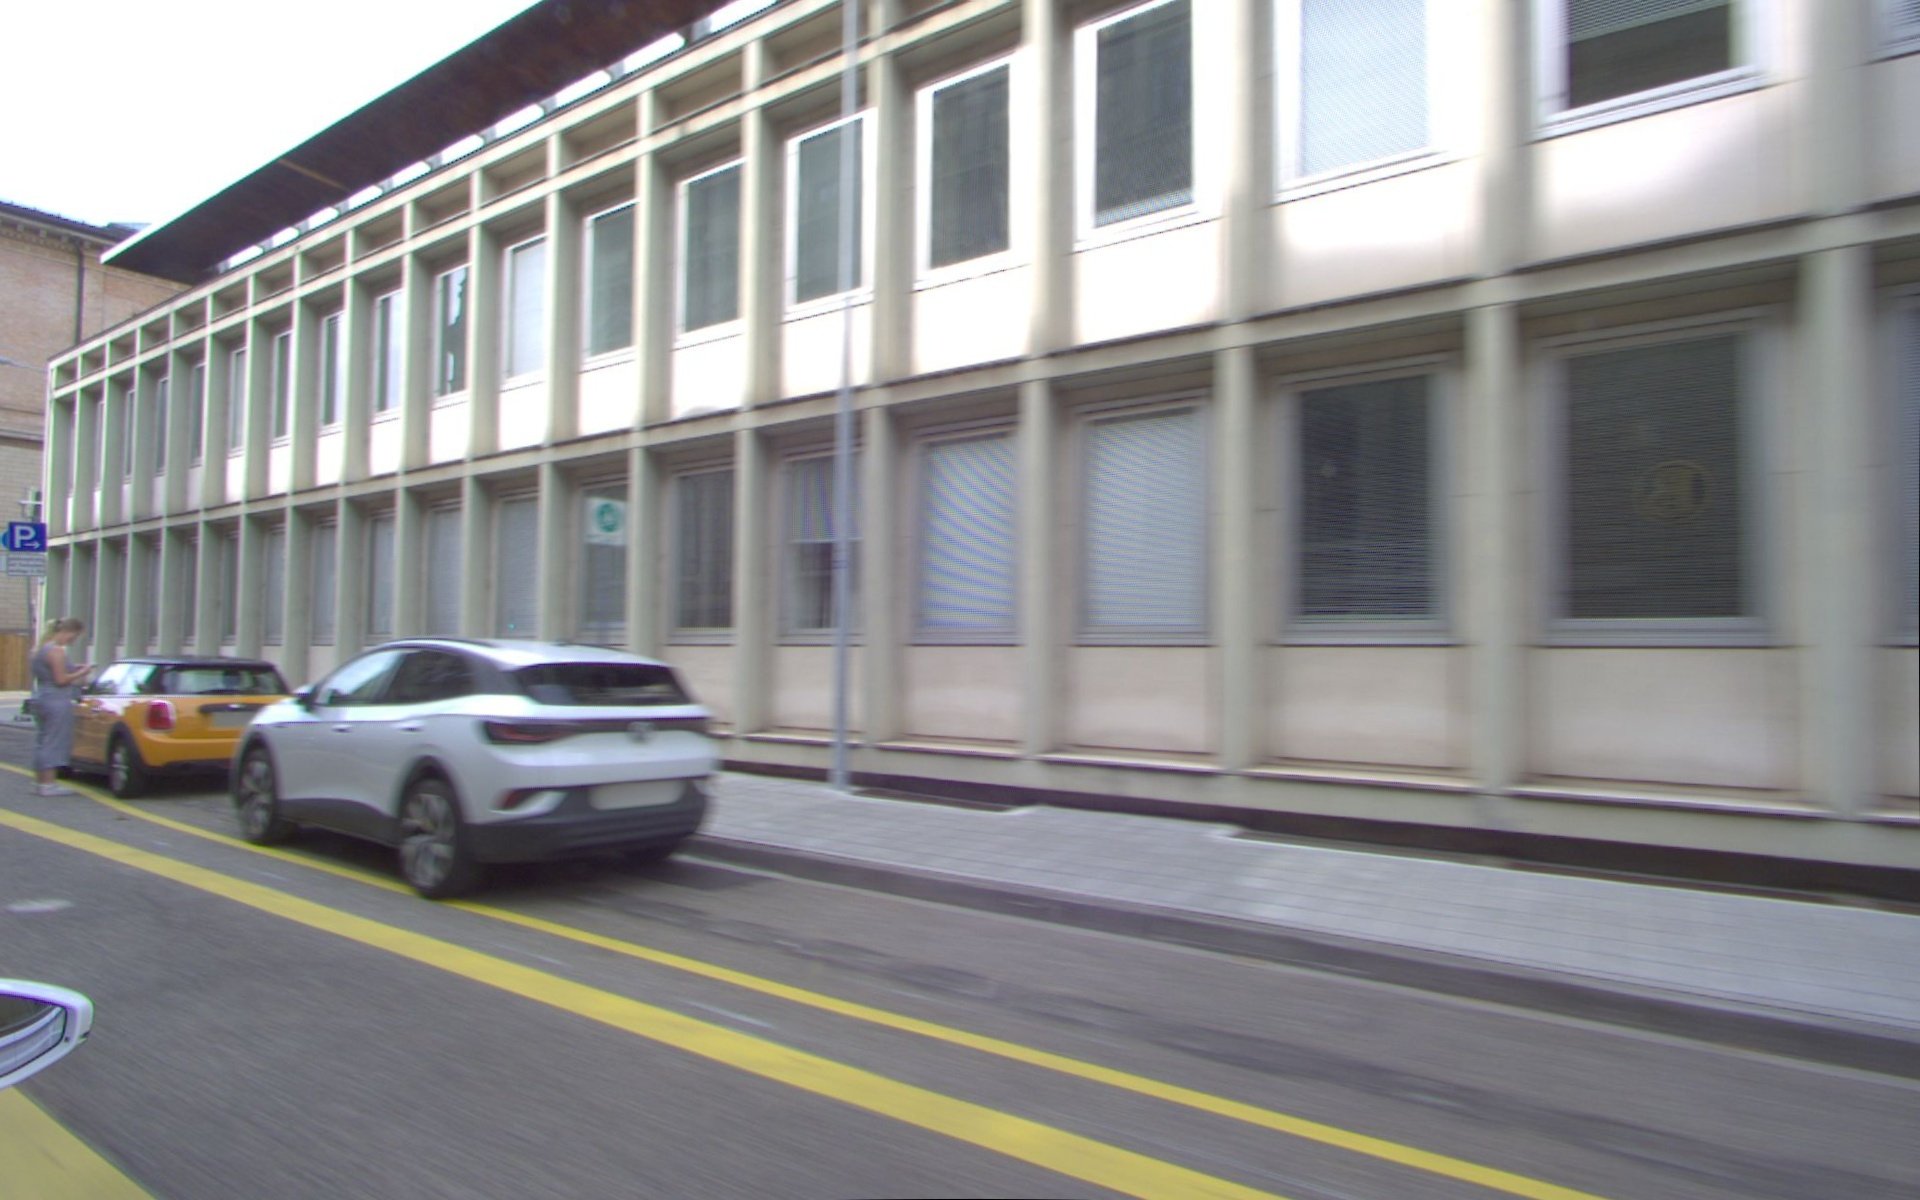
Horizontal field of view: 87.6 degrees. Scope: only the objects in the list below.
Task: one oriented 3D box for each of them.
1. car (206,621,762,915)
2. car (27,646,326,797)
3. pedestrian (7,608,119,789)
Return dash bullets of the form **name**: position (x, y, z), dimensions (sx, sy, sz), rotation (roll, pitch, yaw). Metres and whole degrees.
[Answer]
- **car**: position (-3.766, 1.087, 7.633), dimensions (4.453, 1.623, 1.857), rotation (-2, -7, 36)
- **car**: position (-9.052, 1.286, 11.492), dimensions (3.836, 1.452, 1.676), rotation (-2, -5, 36)
- **pedestrian**: position (-9.291, 0.995, 10.379), dimensions (0.697, 1.785, 0.696), rotation (-2, -3, 36)
